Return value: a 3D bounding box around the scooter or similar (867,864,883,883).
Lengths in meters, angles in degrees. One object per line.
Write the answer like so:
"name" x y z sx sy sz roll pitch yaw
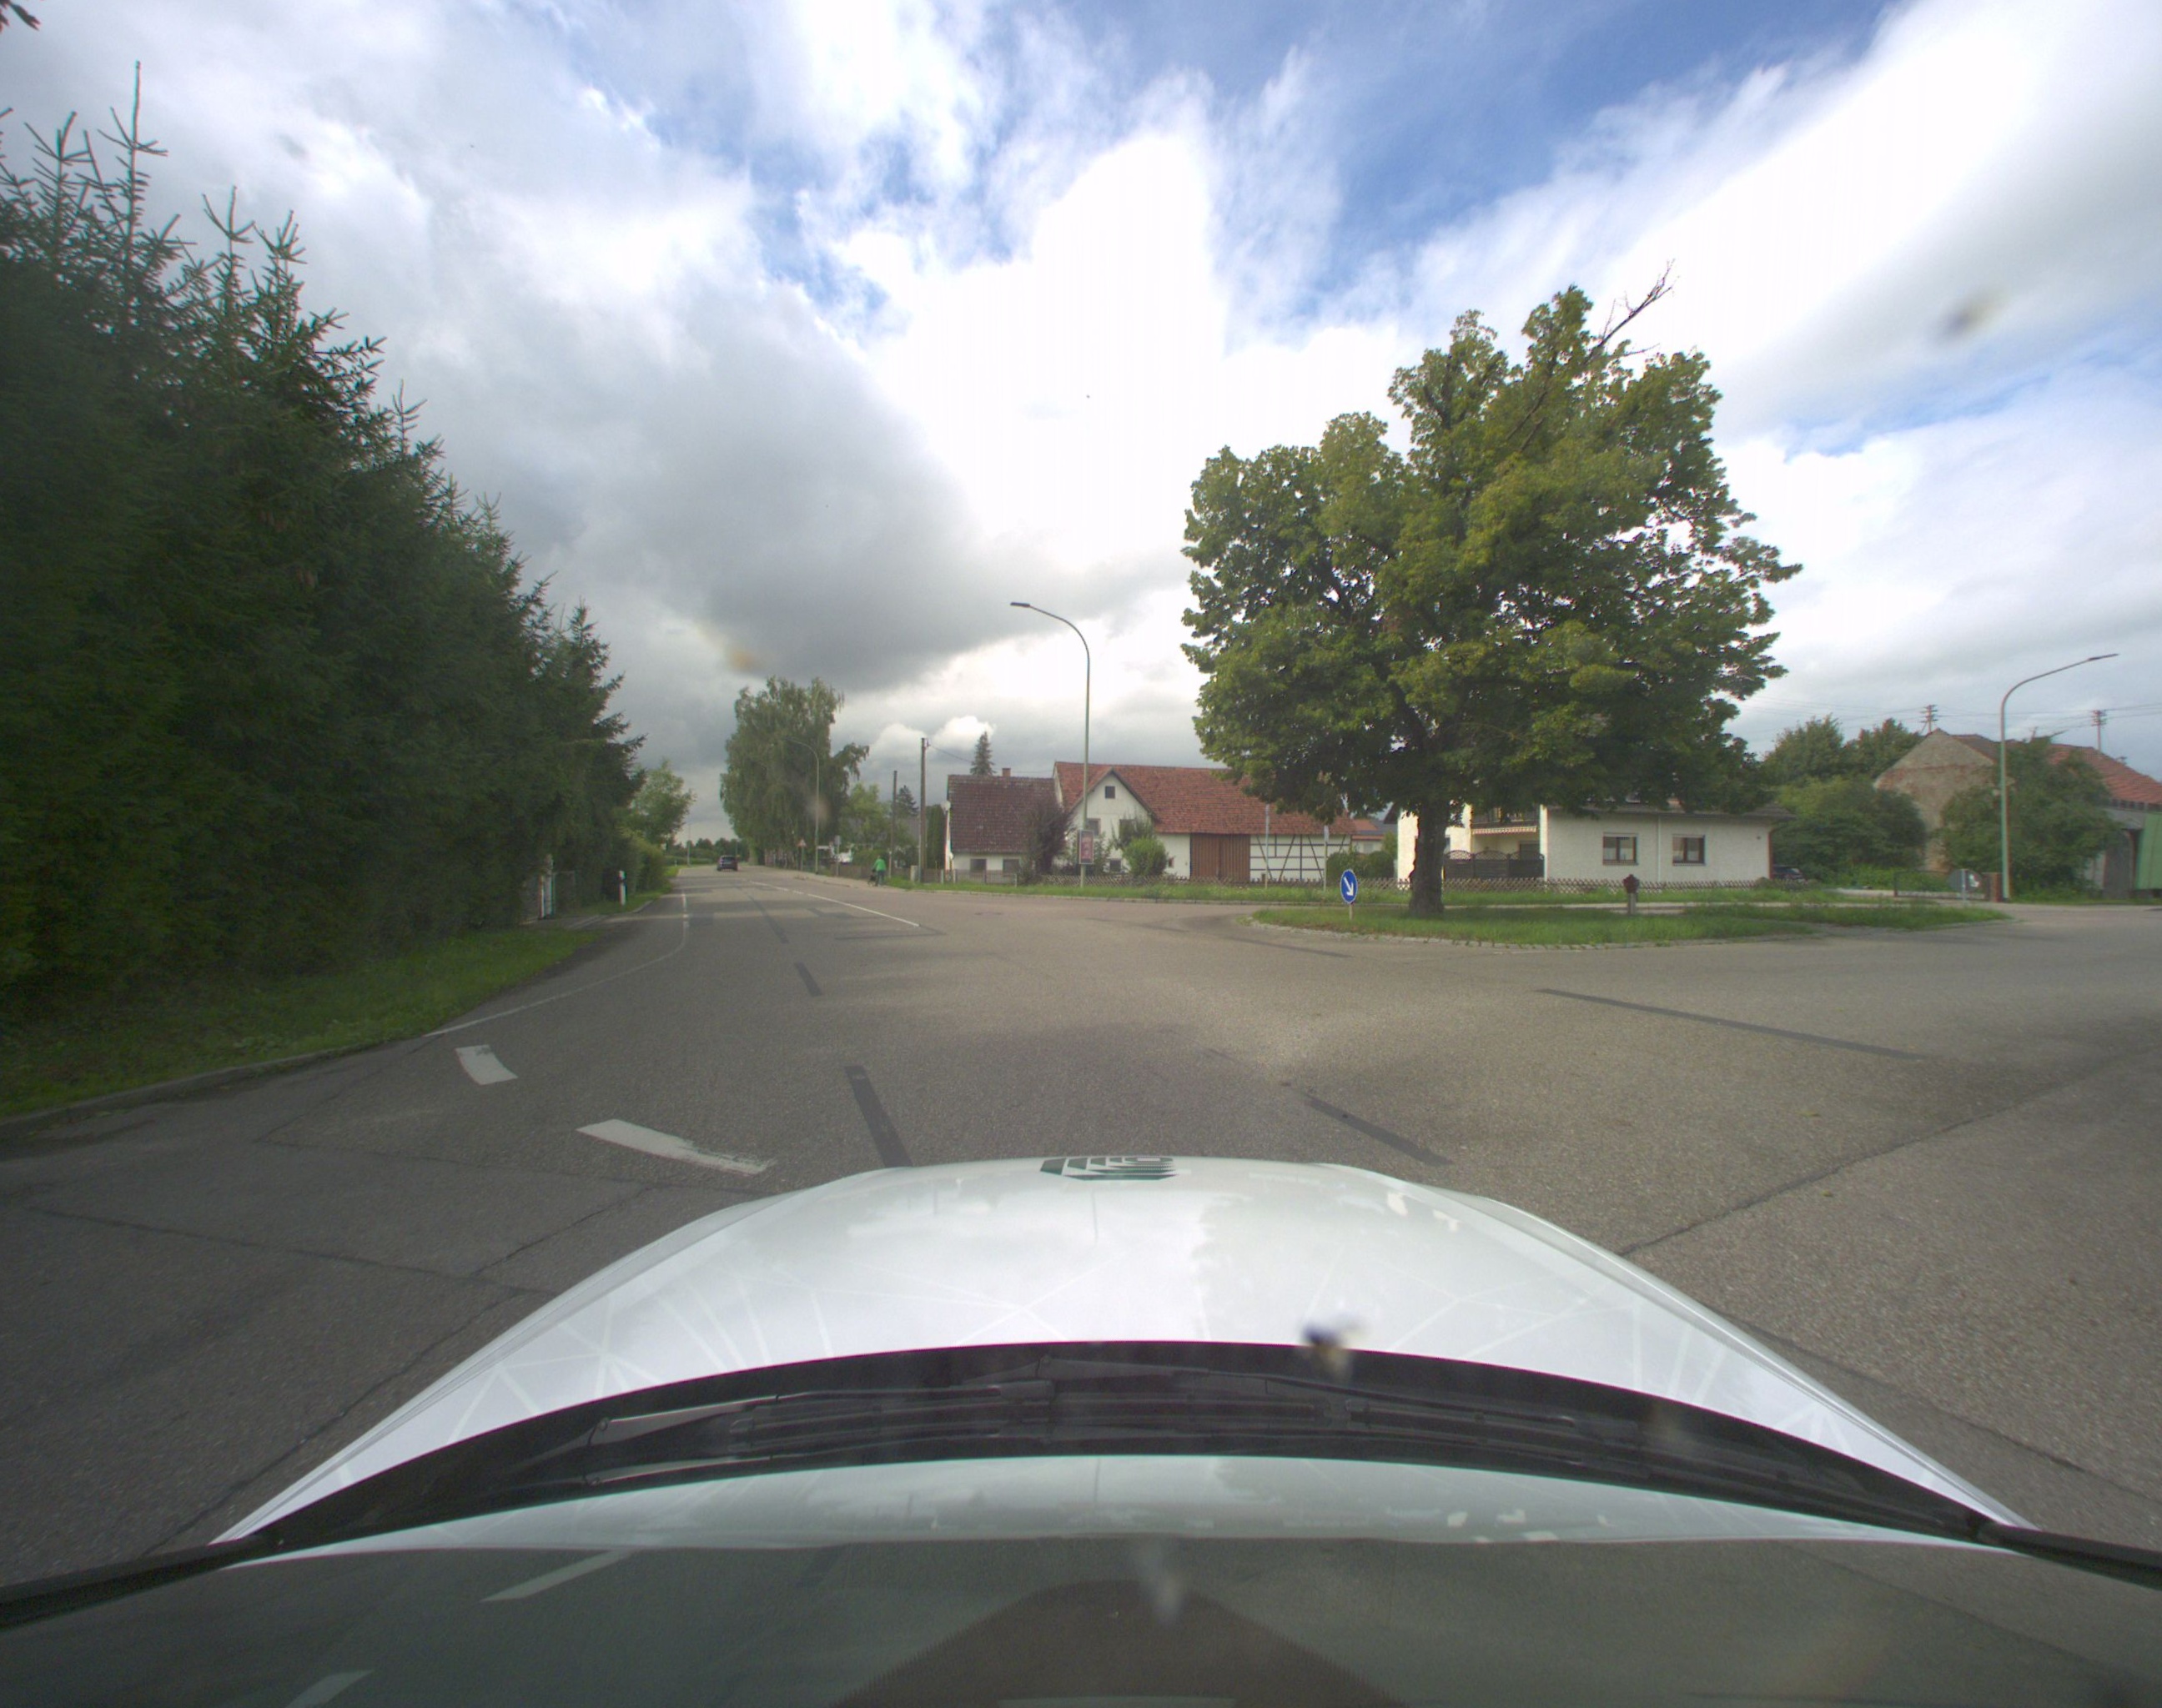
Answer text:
"scooter or similar" -11.038 1.055 43.646 0.634 0.948 0.616 6 -3 -30

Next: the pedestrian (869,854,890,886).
"pedestrian" -10.664 0.842 43.124 0.793 1.665 0.705 6 -3 -30

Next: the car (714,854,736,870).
"car" -36.183 0.846 82.814 2.002 1.552 3.970 1 0 -23
